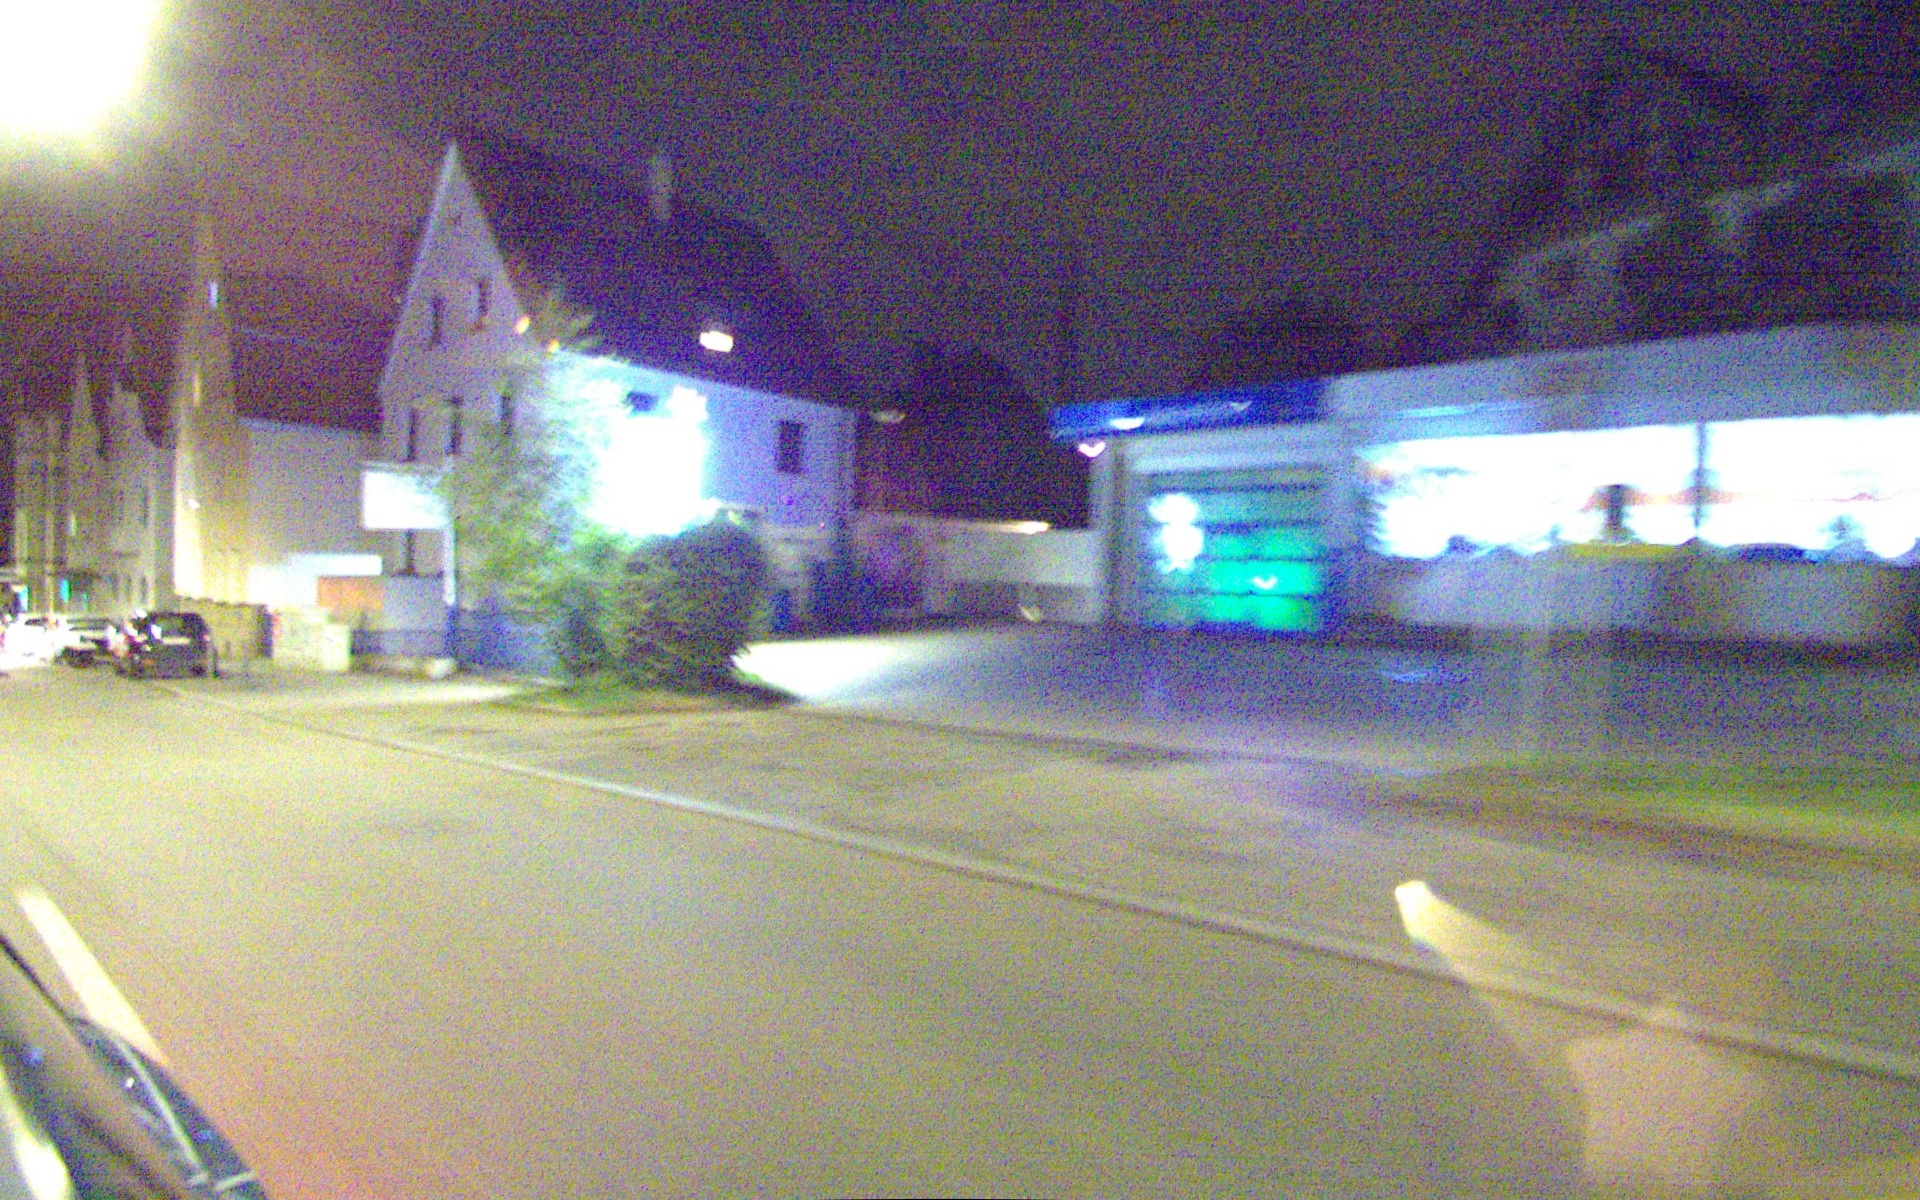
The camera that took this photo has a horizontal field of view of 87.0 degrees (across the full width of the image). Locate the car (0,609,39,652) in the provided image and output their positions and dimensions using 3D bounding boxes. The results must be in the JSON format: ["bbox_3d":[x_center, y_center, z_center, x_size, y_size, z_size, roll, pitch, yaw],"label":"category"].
[{"bbox_3d":[-42.634,1.343,45.149,4.001,1.763,1.972,0,1,43],"label":"car"}]

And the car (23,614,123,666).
[{"bbox_3d":[-27.249,1.203,31.057,4.225,1.503,1.686,-1,-2,41],"label":"car"}]

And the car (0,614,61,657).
[{"bbox_3d":[-36.577,1.343,39.356,4.278,1.503,1.844,0,1,41],"label":"car"}]

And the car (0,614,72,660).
[{"bbox_3d":[-33.227,1.285,36.253,3.778,1.503,1.605,0,1,41],"label":"car"}]

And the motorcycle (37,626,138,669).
[{"bbox_3d":[-24.387,1.324,28.308,2.177,1.156,0.716,0,-1,-1],"label":"motorcycle"}]

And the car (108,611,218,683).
[{"bbox_3d":[-18.585,1.040,23.566,2.765,1.509,1.621,0,0,43],"label":"car"}]

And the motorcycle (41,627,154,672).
[{"bbox_3d":[-22.911,1.308,26.930,2.171,1.139,0.718,0,-1,-16],"label":"motorcycle"}]

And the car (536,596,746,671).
[{"bbox_3d":[-7.155,0.685,23.008,1.873,1.516,4.180,0,1,43],"label":"car"}]
